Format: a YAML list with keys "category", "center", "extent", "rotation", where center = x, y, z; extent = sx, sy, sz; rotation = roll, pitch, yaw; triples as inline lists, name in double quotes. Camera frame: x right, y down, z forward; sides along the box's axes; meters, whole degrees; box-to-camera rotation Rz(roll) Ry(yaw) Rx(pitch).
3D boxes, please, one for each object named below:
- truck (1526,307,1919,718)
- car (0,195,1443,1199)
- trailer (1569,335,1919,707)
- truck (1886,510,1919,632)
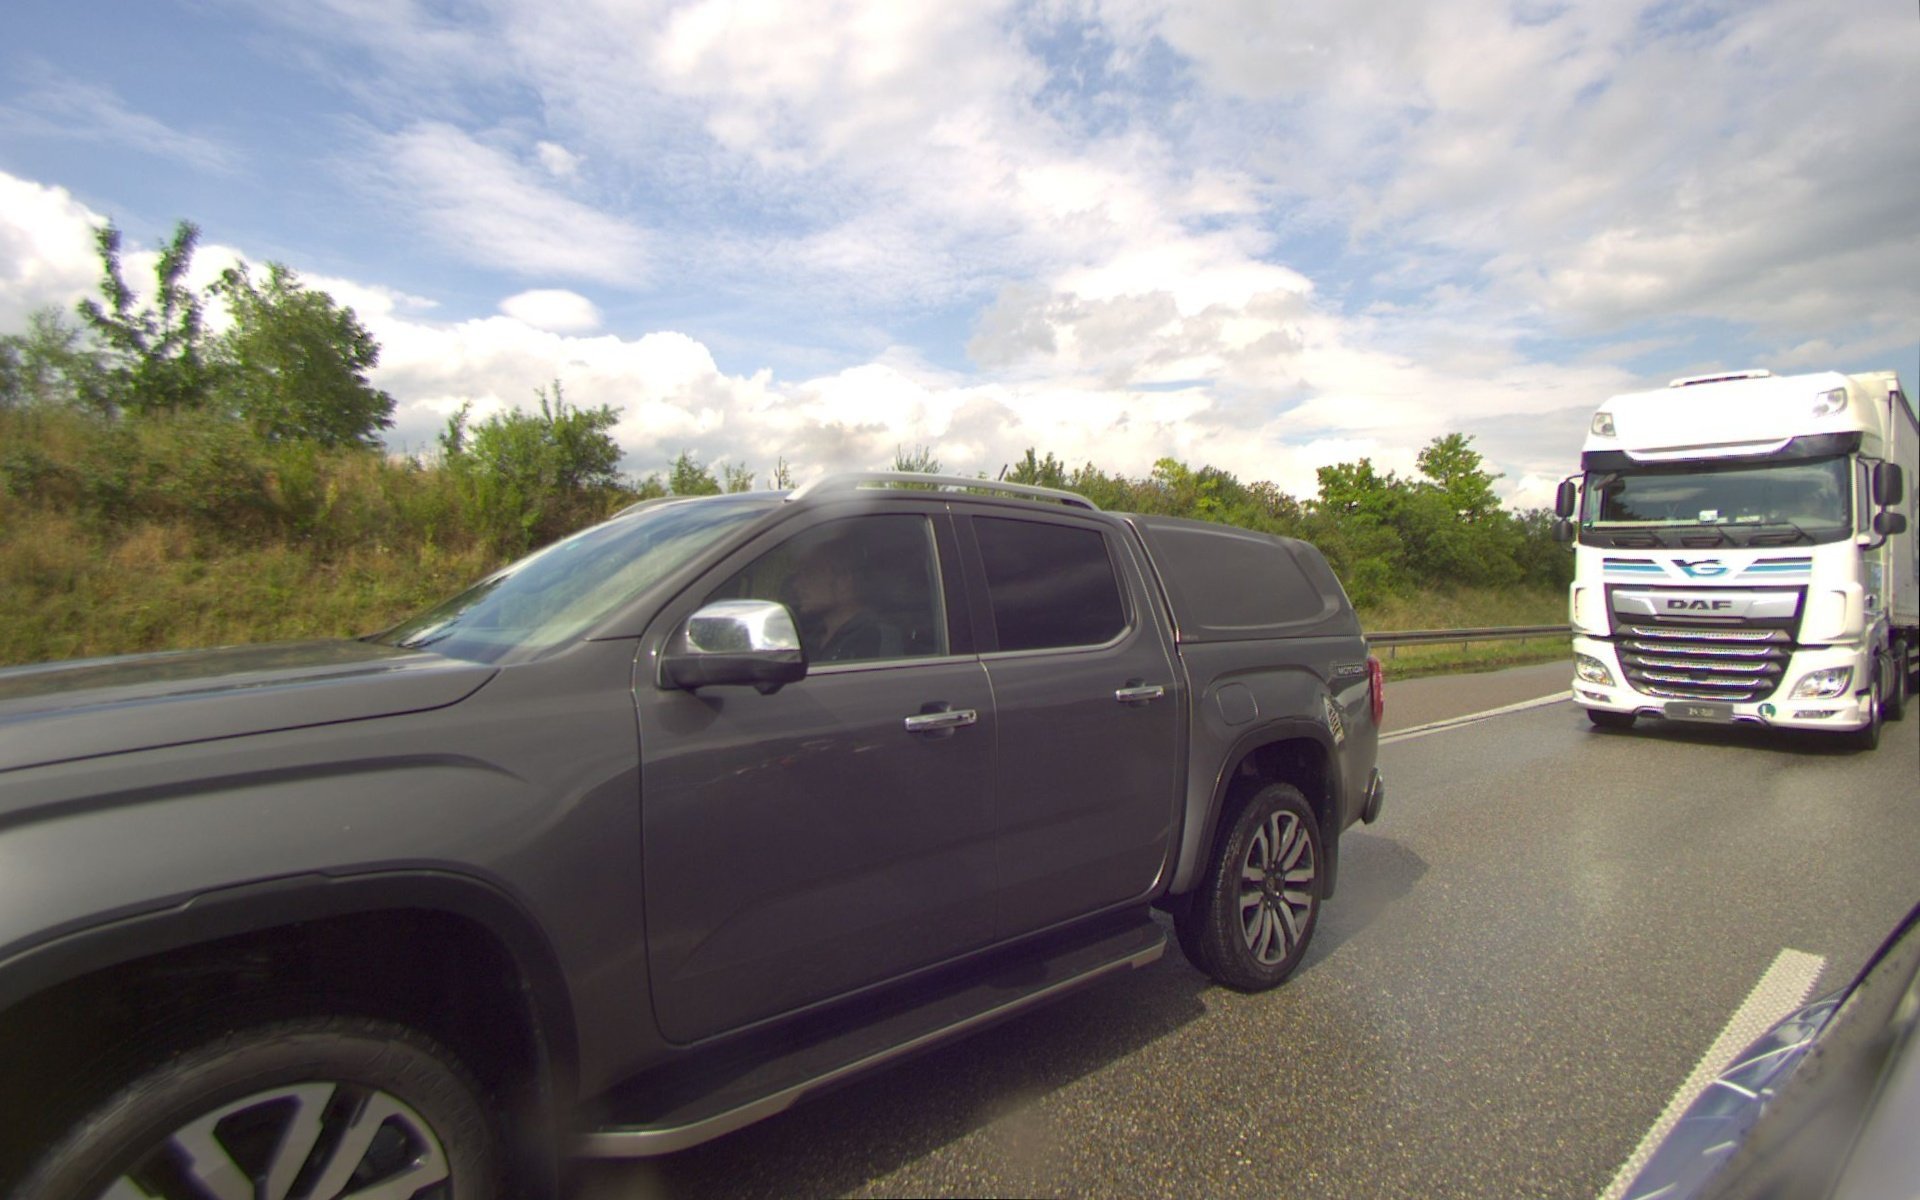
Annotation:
- category: "truck"
  center: [10.170, -0.848, 13.084]
  extent: [6.290, 3.940, 3.287]
  rotation: [0, 0, -44]
- category: "car"
  center: [-0.387, 0.394, 3.587]
  extent: [5.558, 1.943, 1.943]
  rotation: [-1, 1, -43]
- category: "trailer"
  center: [14.025, -0.850, 16.736]
  extent: [13.893, 3.948, 3.286]
  rotation: [0, 0, -44]
- category: "truck"
  center: [36.542, -1.058, 37.866]
  extent: [2.643, 4.328, 6.777]
  rotation: [0, 0, 44]
